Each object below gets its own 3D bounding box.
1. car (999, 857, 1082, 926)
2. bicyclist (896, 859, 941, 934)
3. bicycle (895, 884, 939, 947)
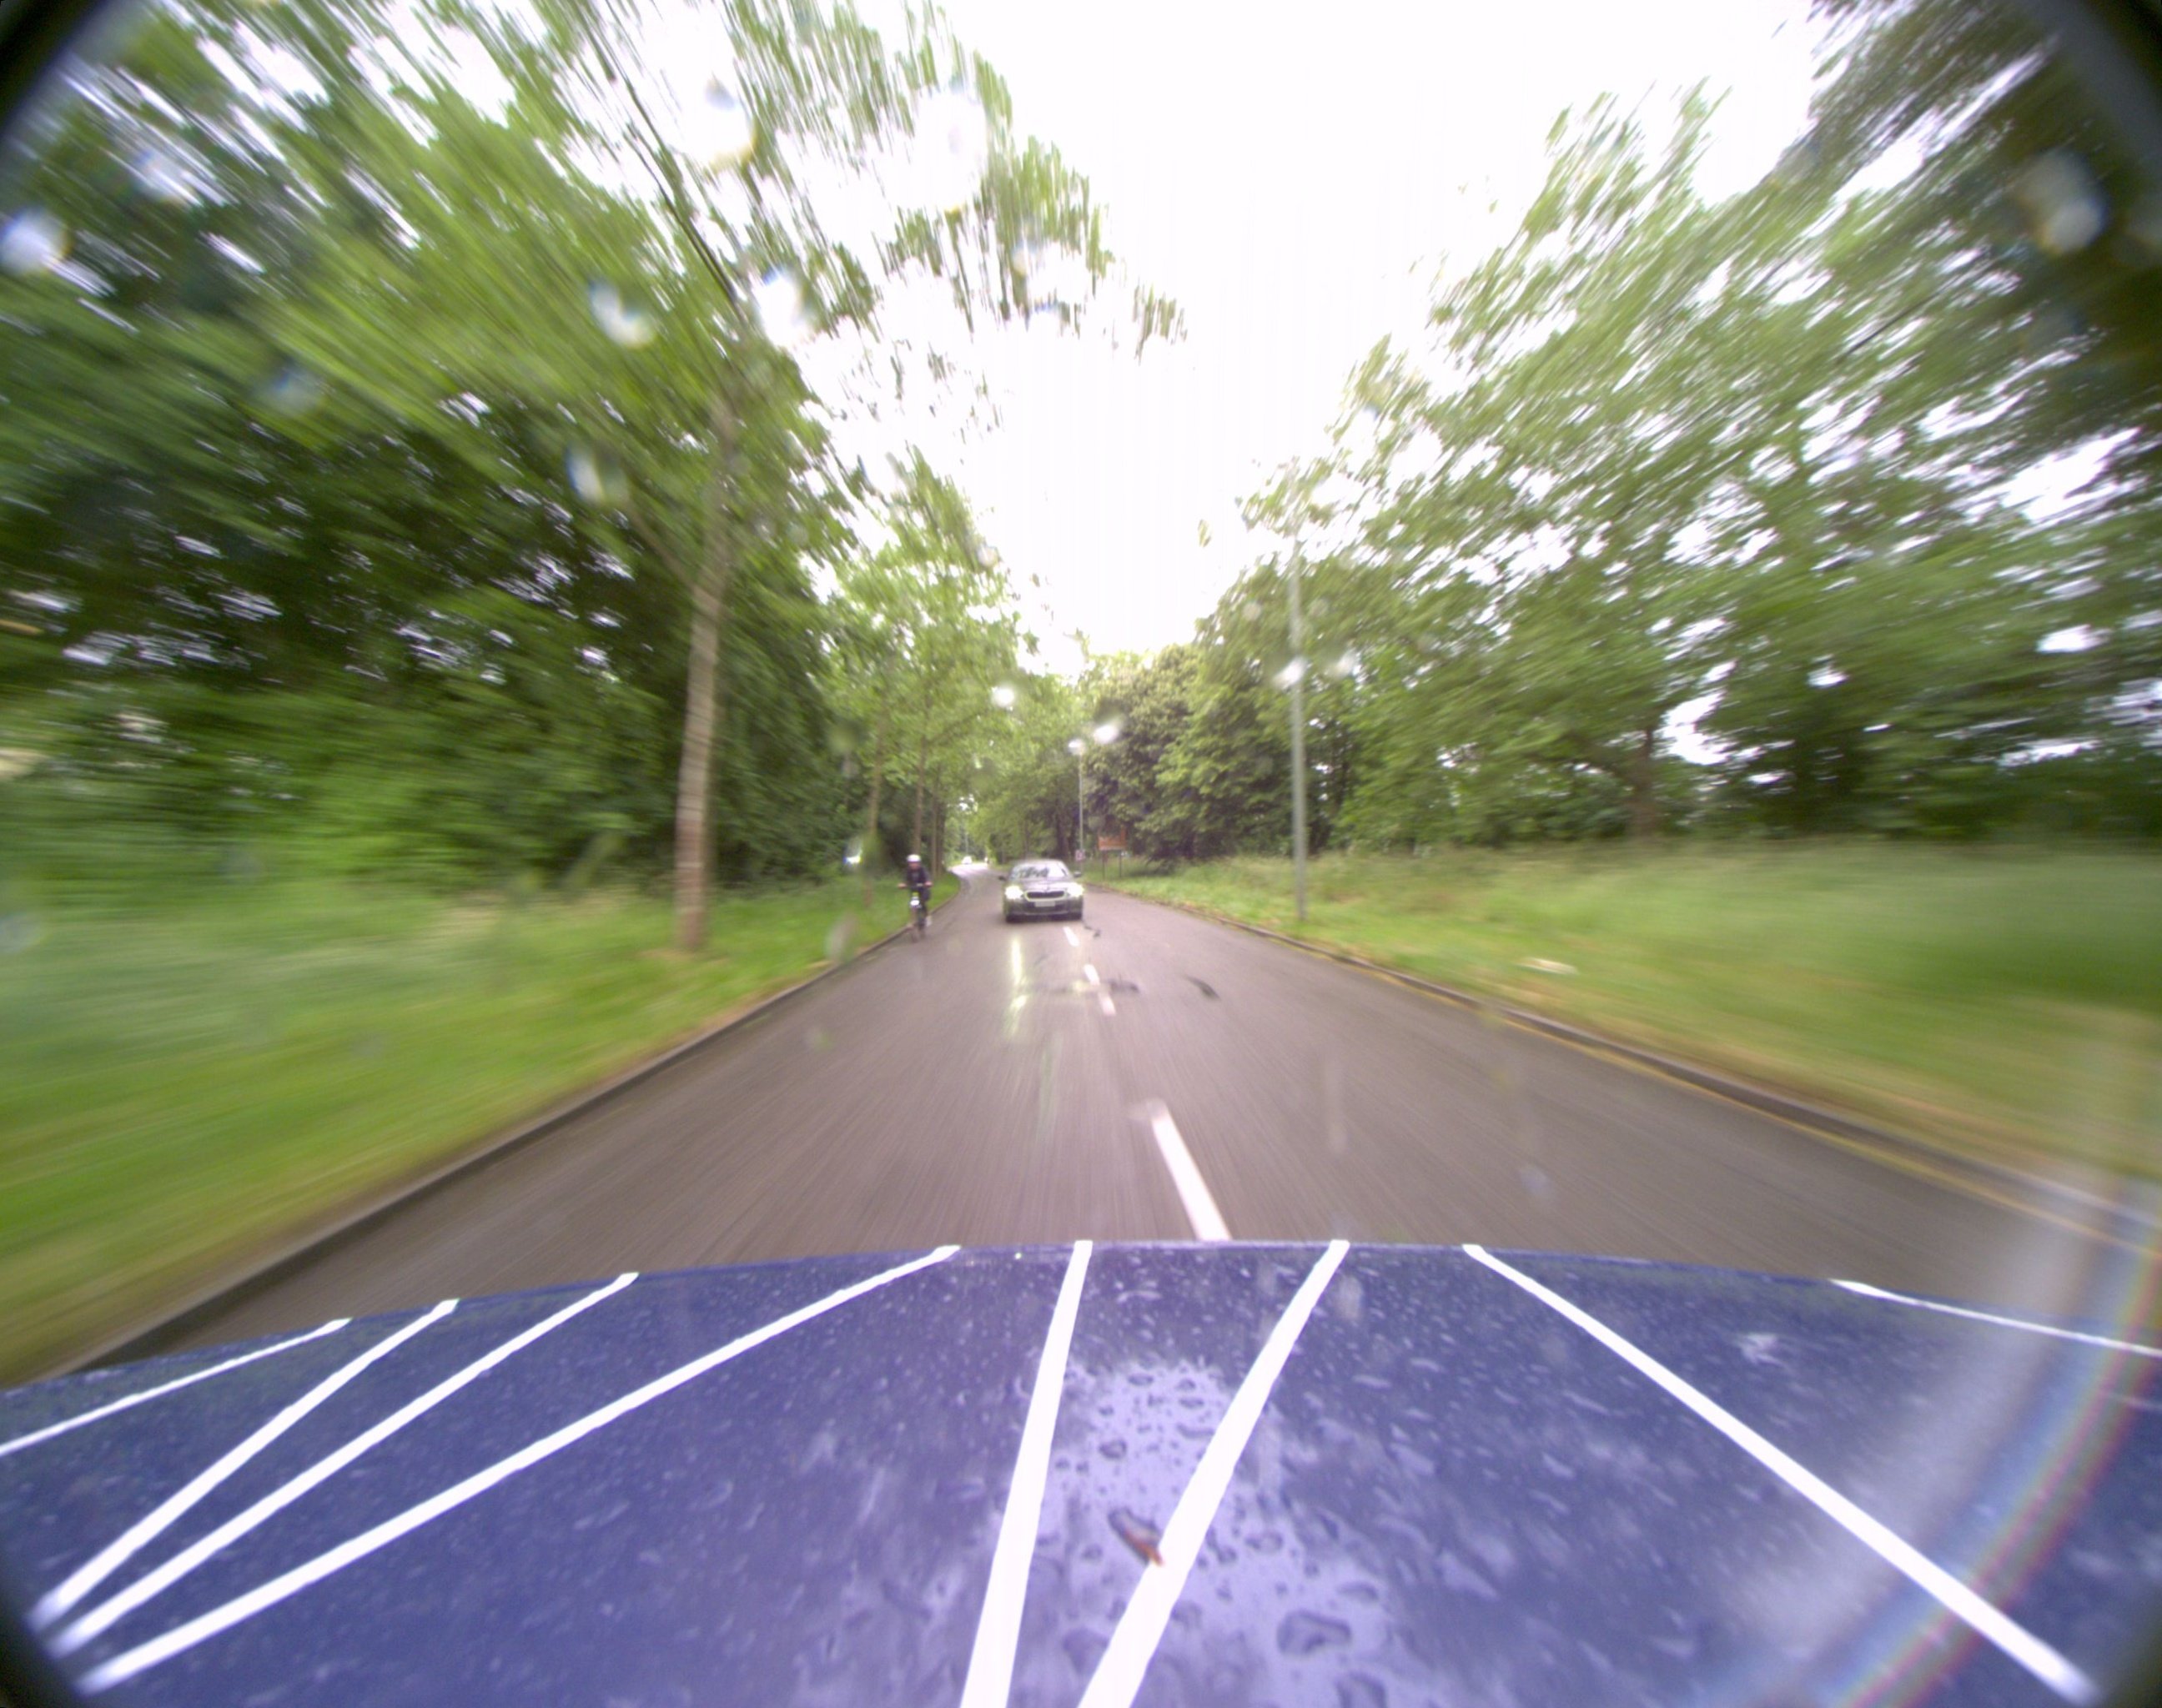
[{"bbox_3d":[-0.940,0.888,20.051,1.843,1.486,4.901,-2,0,0],"label":"car"},{"bbox_3d":[-3.344,0.858,15.703,0.698,1.489,0.800,-2,1,0],"label":"bicyclist"},{"bbox_3d":[-3.363,1.241,15.748,0.453,1.127,1.833,-3,1,0],"label":"bicycle"}]
